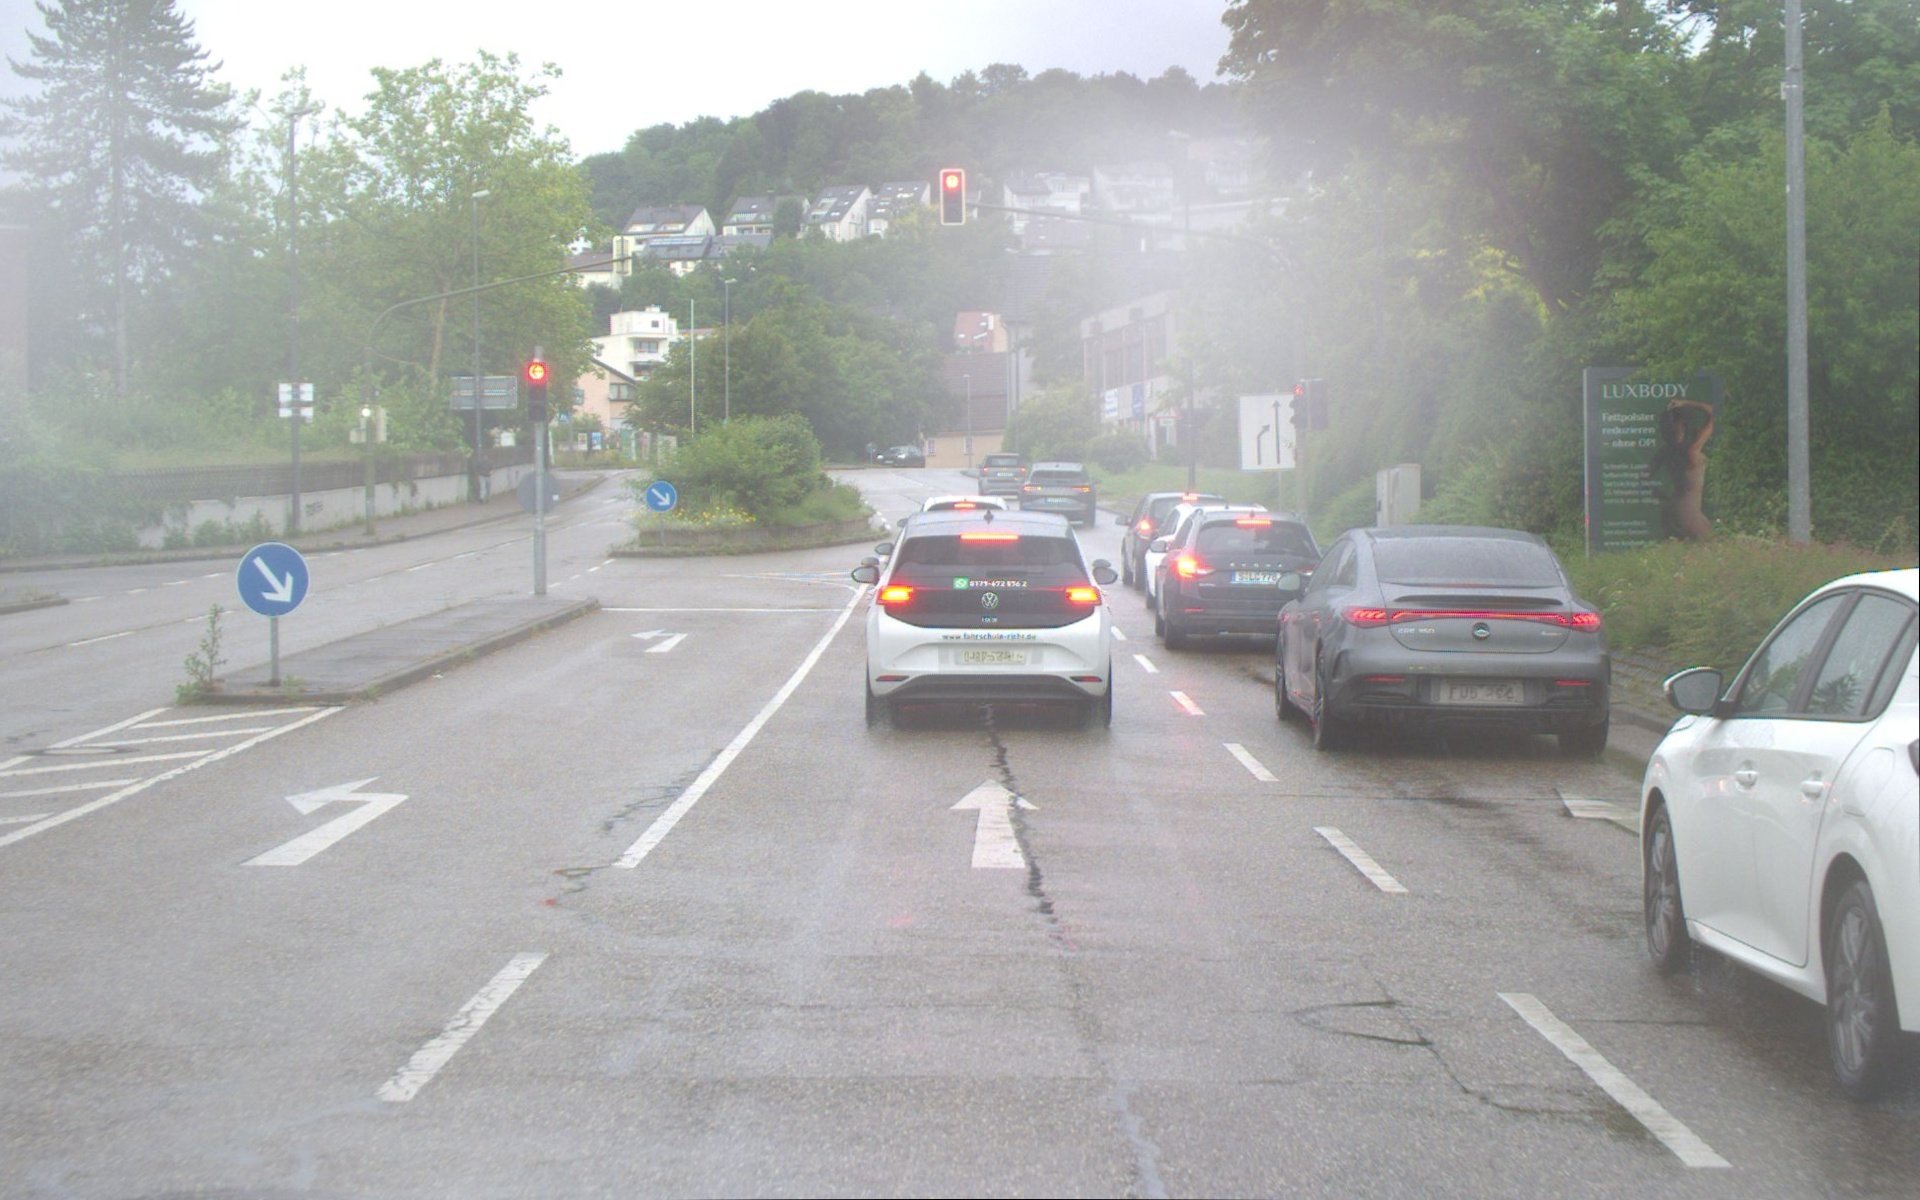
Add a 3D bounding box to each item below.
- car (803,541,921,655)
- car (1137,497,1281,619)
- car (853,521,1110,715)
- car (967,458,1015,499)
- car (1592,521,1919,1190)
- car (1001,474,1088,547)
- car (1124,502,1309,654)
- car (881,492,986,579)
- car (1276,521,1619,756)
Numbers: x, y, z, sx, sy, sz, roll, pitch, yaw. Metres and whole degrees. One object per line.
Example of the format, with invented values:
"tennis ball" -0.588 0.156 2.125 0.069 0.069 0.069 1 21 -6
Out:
"car" -1.051 -0.002 37.383 1.213 1.152 2.270 -2 -1 -1
"car" 3.223 -0.515 45.021 1.565 1.393 3.957 -2 -1 0
"car" 0.176 0.134 25.467 1.741 1.291 3.334 -2 0 1
"car" 1.010 -3.984 112.826 1.366 1.153 2.427 -2 -1 -4
"car" 3.151 0.585 10.433 1.691 1.513 3.934 -1 3 -1
"car" 2.064 -2.194 84.692 1.794 1.564 3.526 -2 -1 -4
"car" 2.705 -0.200 36.883 1.647 1.480 3.366 -2 -1 -1
"car" -0.366 -0.921 50.000 1.385 1.123 2.610 -2 -1 2
"car" 3.237 0.208 23.423 1.734 1.383 3.353 0 3 -2
